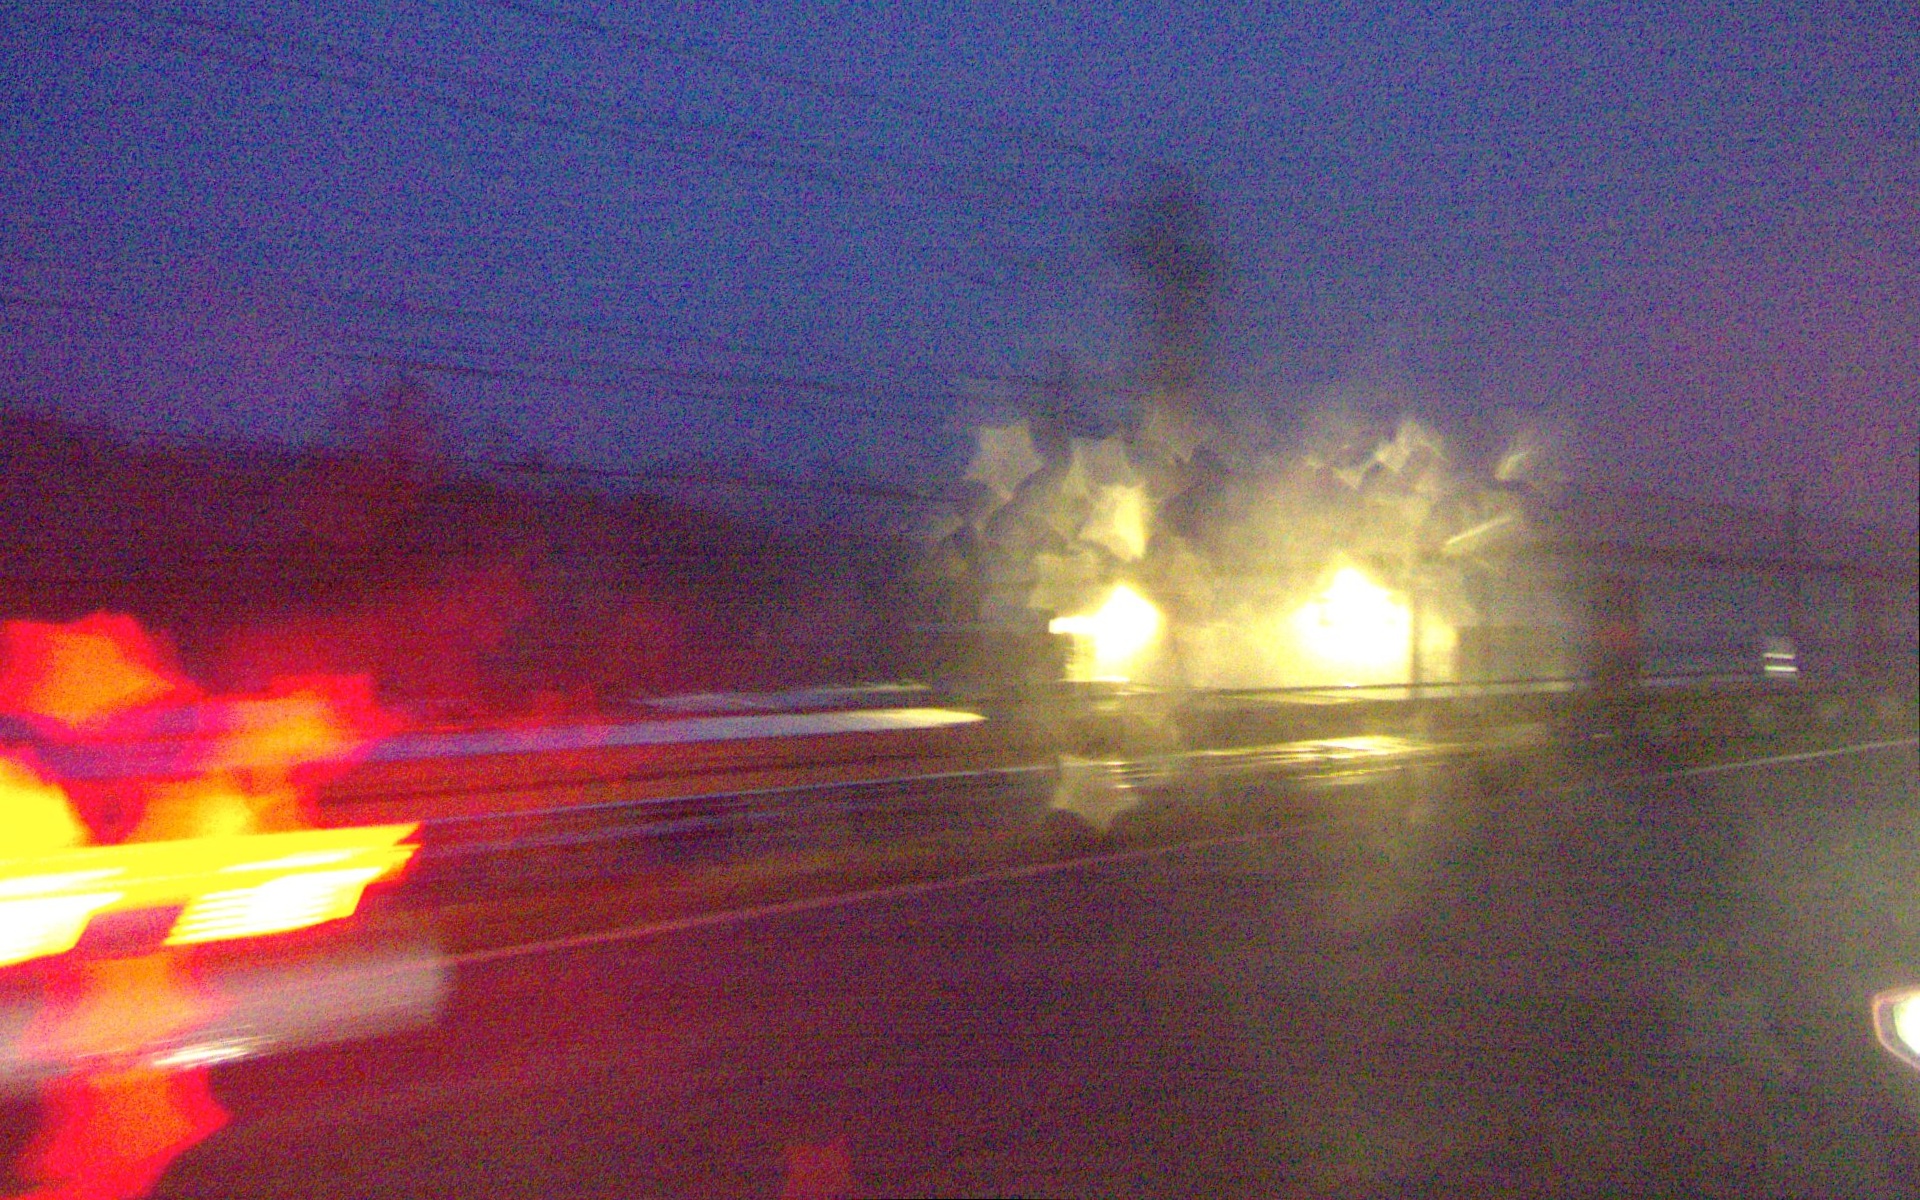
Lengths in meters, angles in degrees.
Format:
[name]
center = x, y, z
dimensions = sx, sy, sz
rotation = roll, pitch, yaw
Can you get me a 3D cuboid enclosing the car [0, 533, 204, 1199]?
[car]
center = -3.577, 0.667, 1.112
dimensions = 4.108, 1.659, 1.880
rotation = 2, -1, -30
